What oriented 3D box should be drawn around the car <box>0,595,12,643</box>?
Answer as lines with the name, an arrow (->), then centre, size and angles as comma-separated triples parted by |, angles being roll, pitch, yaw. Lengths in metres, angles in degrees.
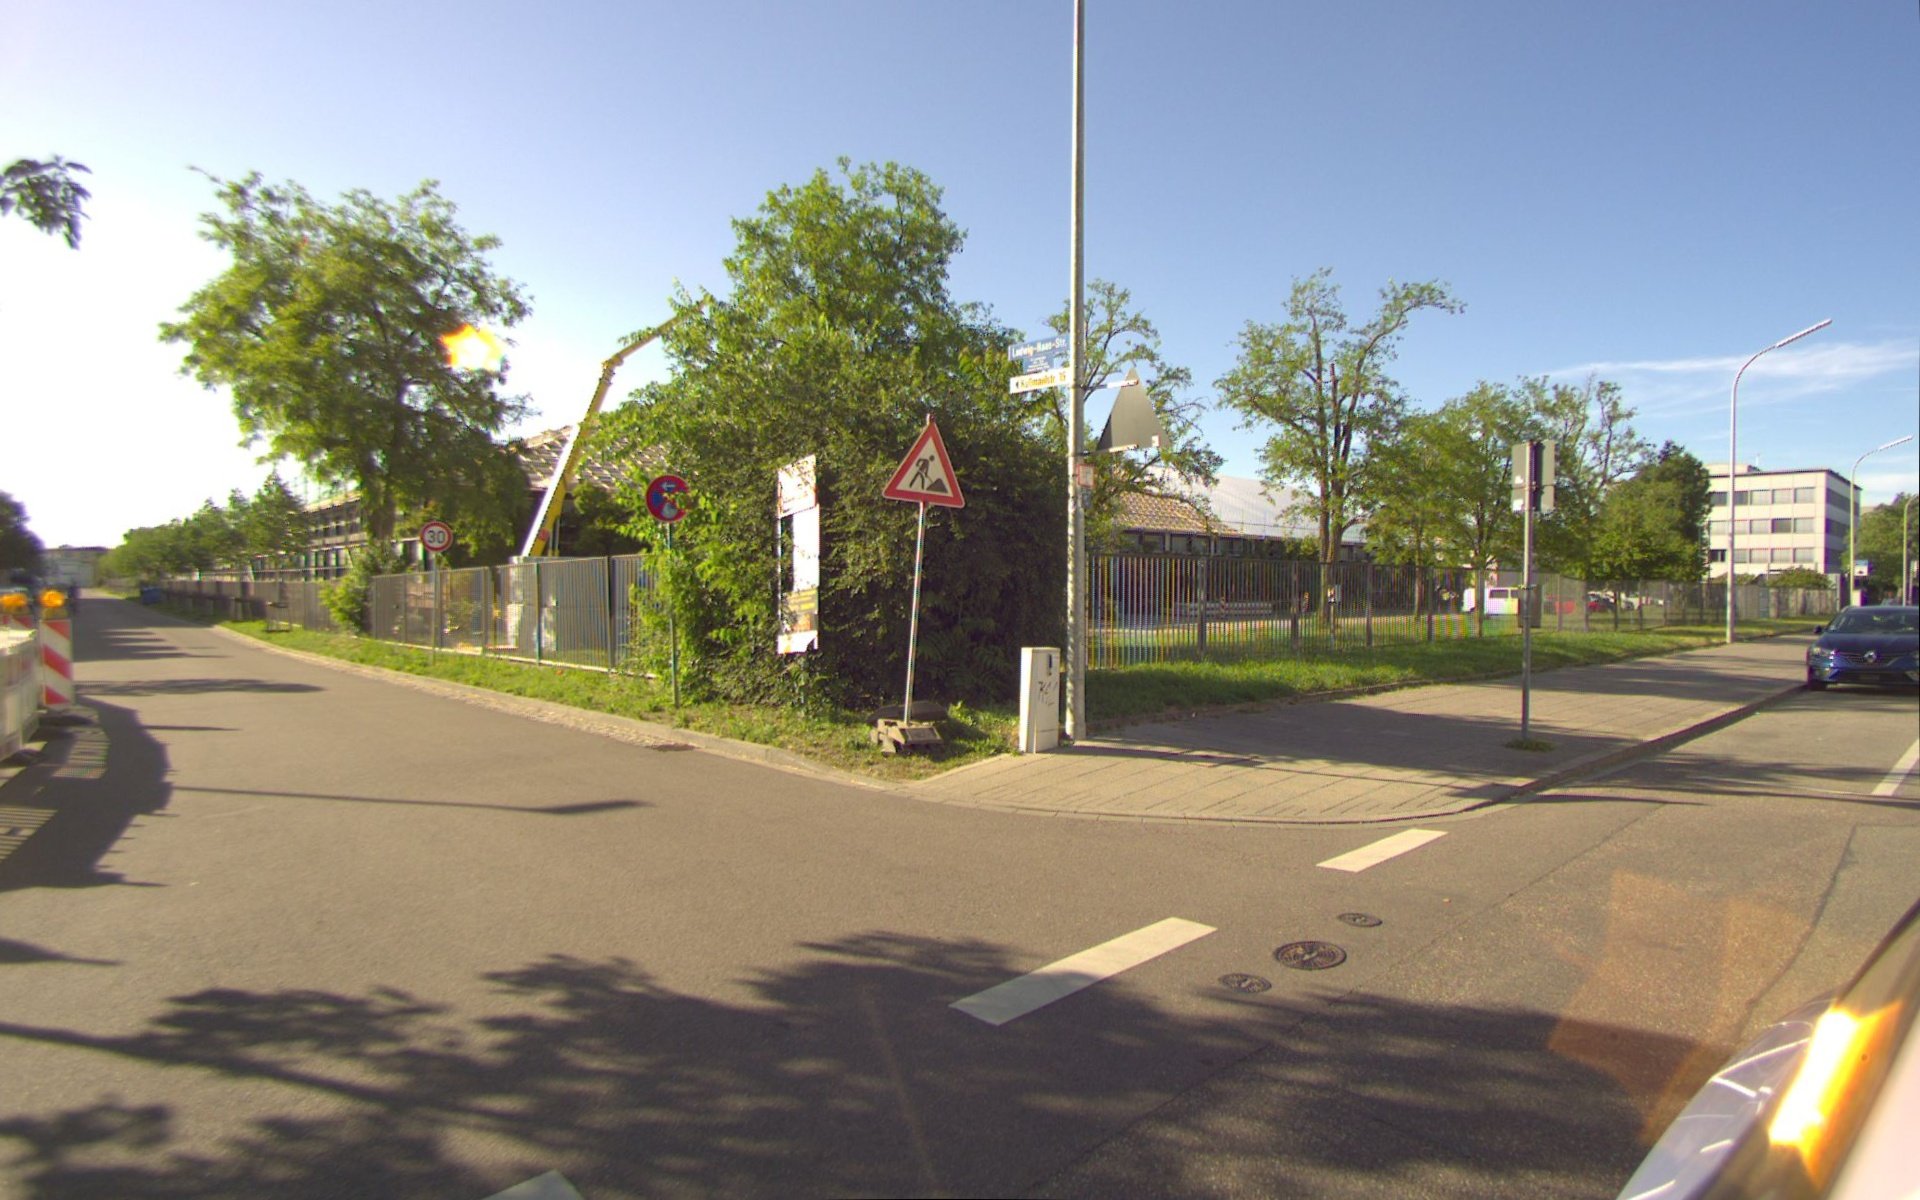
car -> -30.699, 0.580, 31.384 | 1.783, 1.425, 3.321 | 0, 1, -41

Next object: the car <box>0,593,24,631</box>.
car -> -37.581, 0.451, 39.222 | 1.783, 1.431, 3.321 | 0, 1, -41

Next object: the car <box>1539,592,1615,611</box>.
car -> 42.400, 0.117, 69.559 | 1.798, 1.268, 4.144 | 0, -1, -44

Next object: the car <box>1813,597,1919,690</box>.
car -> 16.347, 0.687, 17.532 | 4.141, 1.471, 1.820 | 0, -1, -42

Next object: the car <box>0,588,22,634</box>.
car -> -34.356, 0.369, 35.670 | 1.783, 1.549, 3.321 | 0, 1, -41

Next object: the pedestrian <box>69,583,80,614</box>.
pedestrian -> -51.163, -0.093, 58.446 | 0.471, 1.742, 0.484 | 0, 0, -43

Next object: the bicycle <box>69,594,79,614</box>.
bicycle -> -51.080, 0.224, 58.352 | 0.432, 1.110, 1.657 | 0, 0, -42

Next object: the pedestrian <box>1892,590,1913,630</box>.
pedestrian -> 39.373, 0.414, 42.291 | 0.671, 1.632, 0.540 | -1, -1, -41

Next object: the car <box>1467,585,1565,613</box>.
car -> 34.800, -0.053, 63.452 | 2.061, 1.665, 4.968 | 0, -1, -44

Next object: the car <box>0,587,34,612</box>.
car -> -55.504, -0.049, 59.262 | 1.783, 1.431, 3.321 | 0, 1, -41
